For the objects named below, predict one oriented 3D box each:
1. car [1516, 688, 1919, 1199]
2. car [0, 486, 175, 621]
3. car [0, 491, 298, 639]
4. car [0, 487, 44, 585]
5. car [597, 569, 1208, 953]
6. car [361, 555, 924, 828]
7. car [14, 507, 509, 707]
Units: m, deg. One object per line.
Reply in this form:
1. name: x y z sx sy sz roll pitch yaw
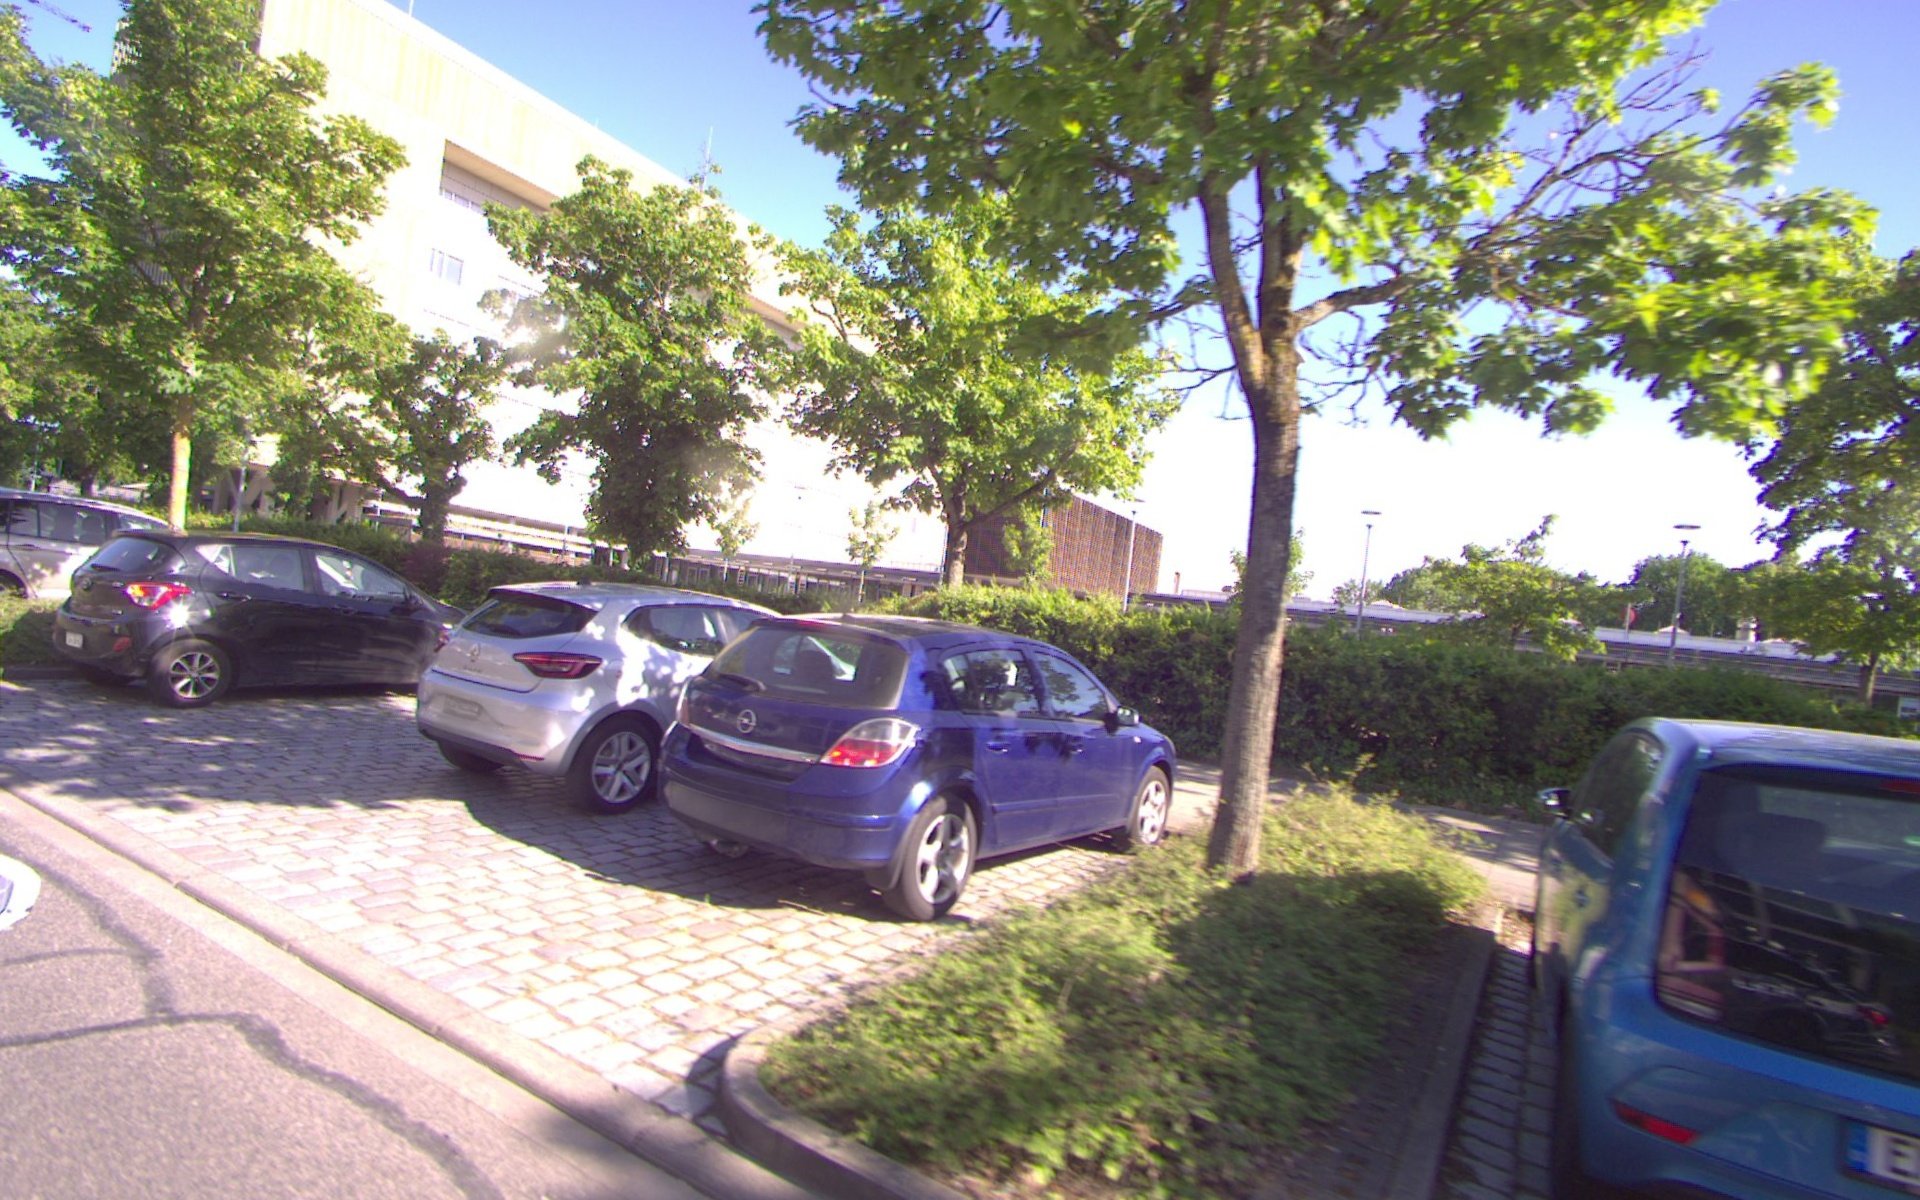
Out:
1. car: 3.184 1.221 3.901 1.594 1.485 3.907 8 -1 30
2. car: -14.047 -0.798 14.394 1.907 1.715 3.907 8 -1 30
3. car: -11.722 -0.483 13.457 1.879 1.627 4.329 6 -1 28
4. car: -21.577 -1.583 20.254 1.945 1.951 4.127 8 -1 30
5. car: -0.027 0.839 6.432 1.812 1.515 3.899 6 -1 33
6. car: -2.157 0.656 7.770 1.812 1.433 3.736 6 -1 33
7. car: -6.494 0.131 9.725 1.717 1.507 3.458 5 -1 30
